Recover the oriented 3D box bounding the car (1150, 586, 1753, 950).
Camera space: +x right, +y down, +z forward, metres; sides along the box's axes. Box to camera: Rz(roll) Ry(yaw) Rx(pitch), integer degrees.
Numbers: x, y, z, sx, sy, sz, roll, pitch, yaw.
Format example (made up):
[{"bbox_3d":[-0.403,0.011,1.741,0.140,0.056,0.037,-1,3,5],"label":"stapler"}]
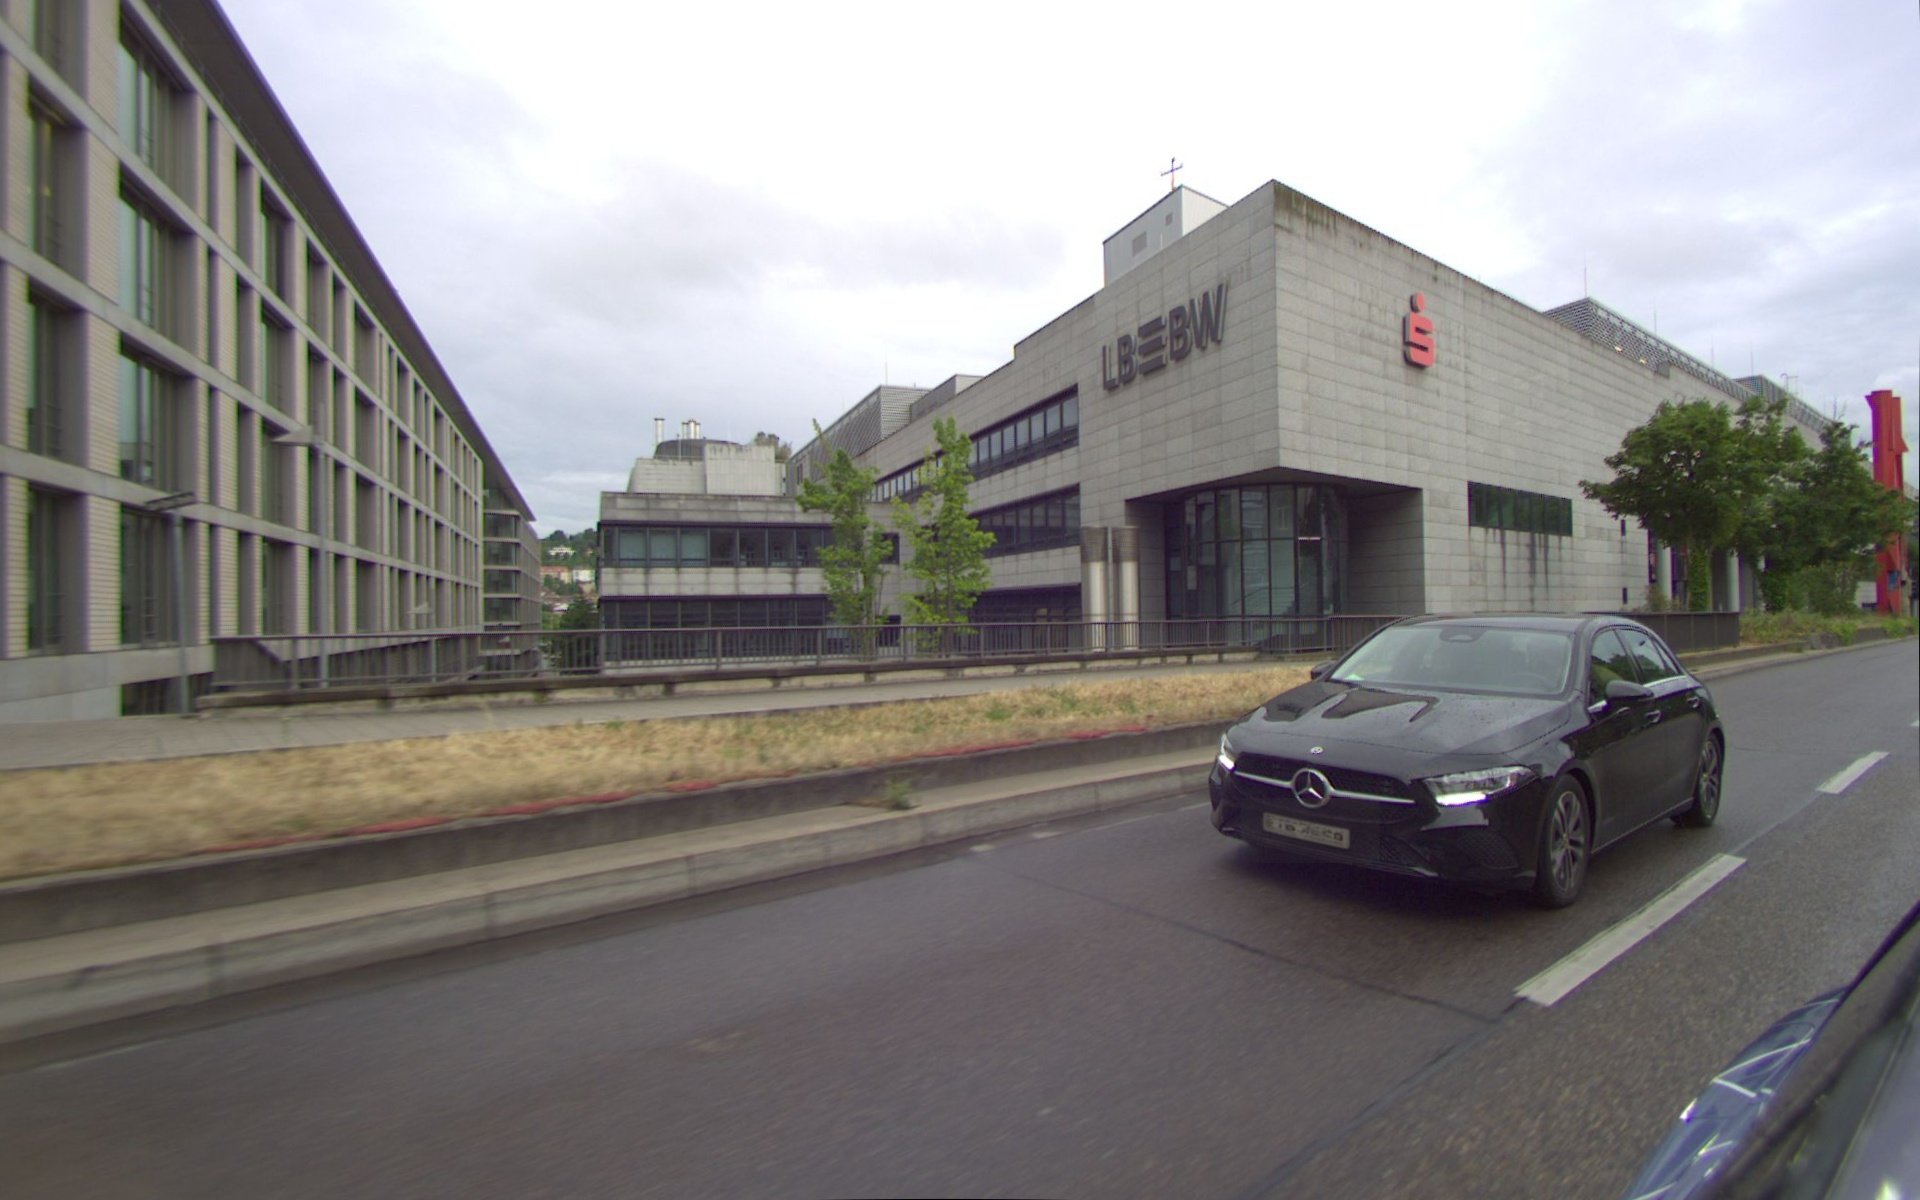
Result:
[{"bbox_3d":[3.183,0.676,6.141,4.132,1.455,1.875,0,0,-42],"label":"car"}]
